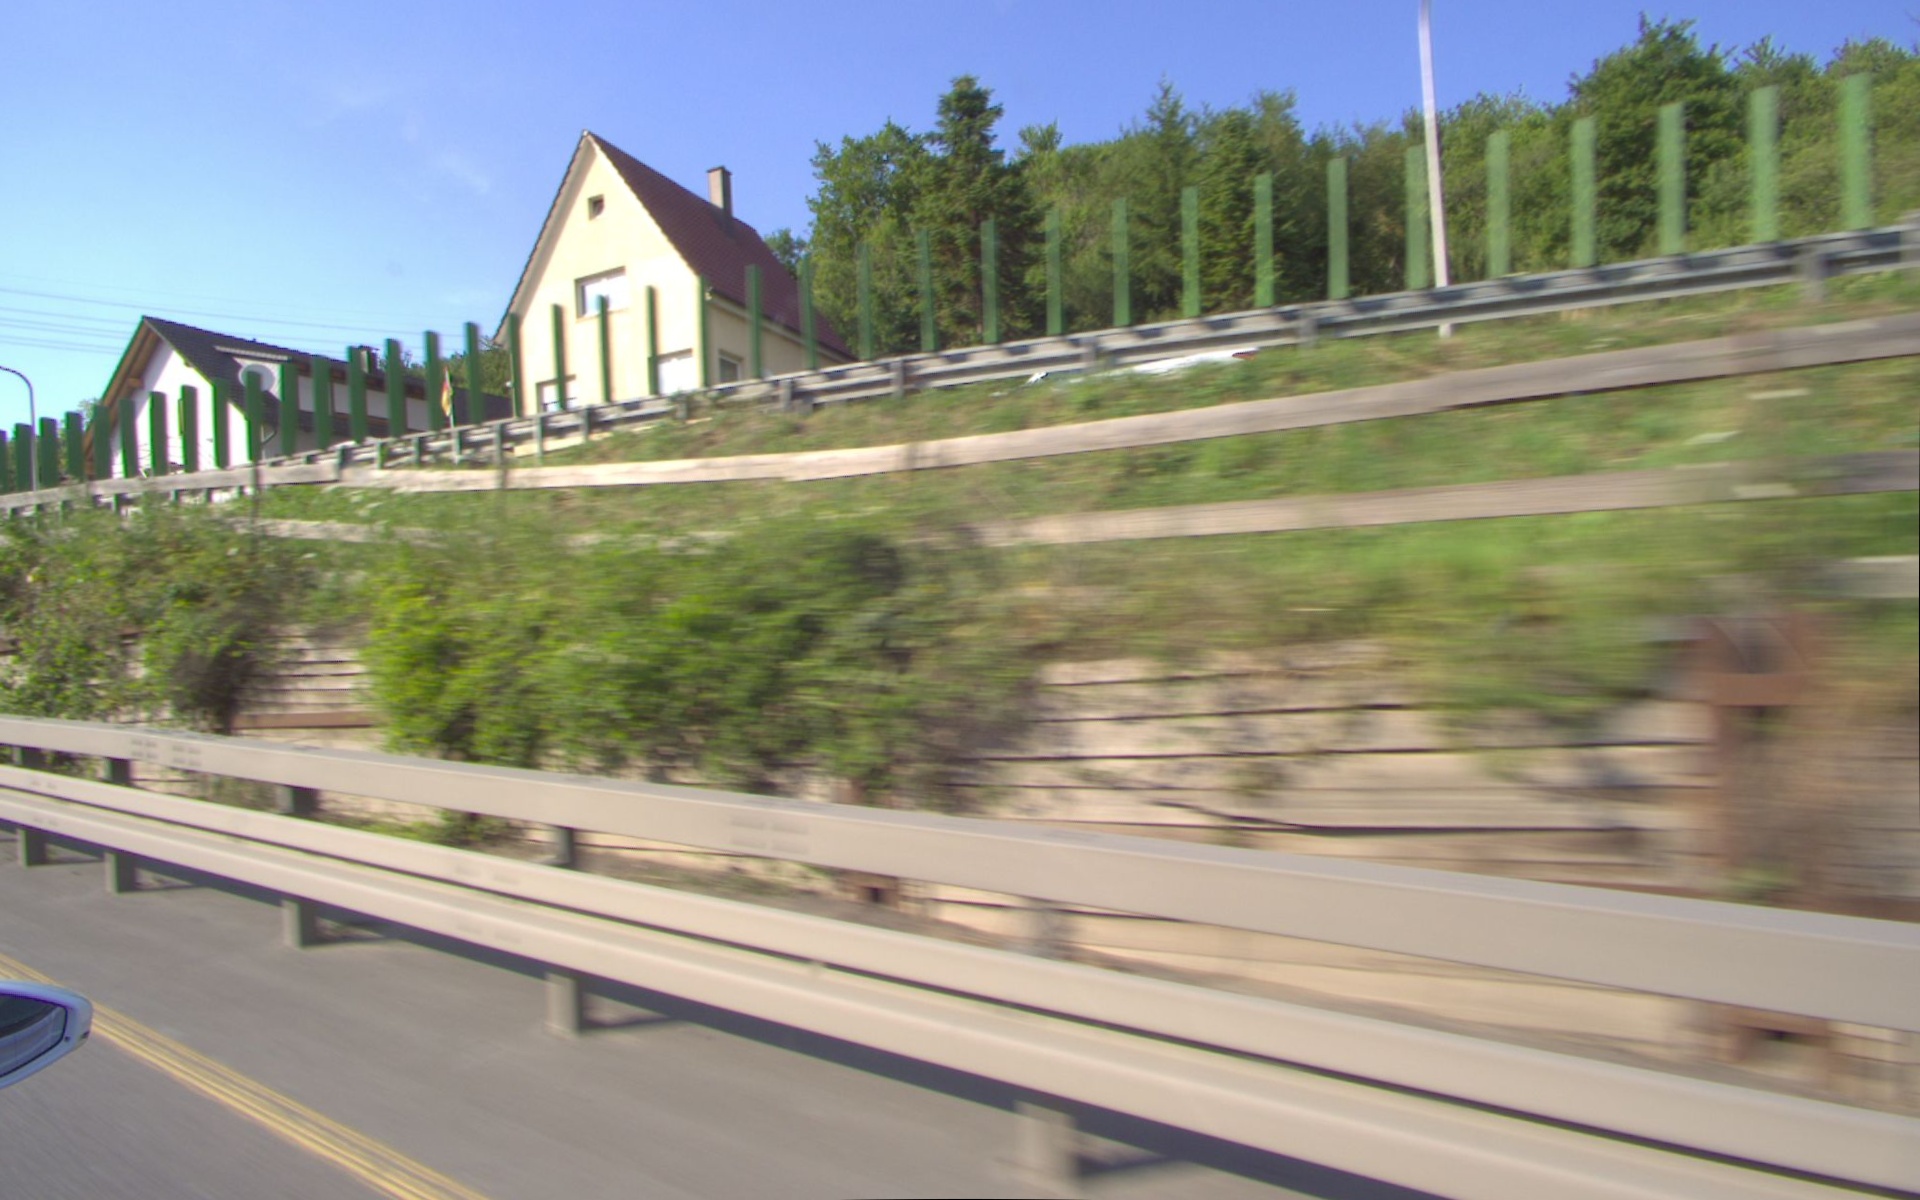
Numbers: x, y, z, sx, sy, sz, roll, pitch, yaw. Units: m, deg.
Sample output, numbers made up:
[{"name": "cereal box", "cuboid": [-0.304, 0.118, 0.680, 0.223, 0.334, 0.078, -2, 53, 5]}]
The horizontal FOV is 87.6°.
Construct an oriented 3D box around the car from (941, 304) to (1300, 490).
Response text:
[{"name": "car", "cuboid": [2.196, -2.629, 13.695, 4.569, 1.680, 1.699, -3, -1, 20]}]
